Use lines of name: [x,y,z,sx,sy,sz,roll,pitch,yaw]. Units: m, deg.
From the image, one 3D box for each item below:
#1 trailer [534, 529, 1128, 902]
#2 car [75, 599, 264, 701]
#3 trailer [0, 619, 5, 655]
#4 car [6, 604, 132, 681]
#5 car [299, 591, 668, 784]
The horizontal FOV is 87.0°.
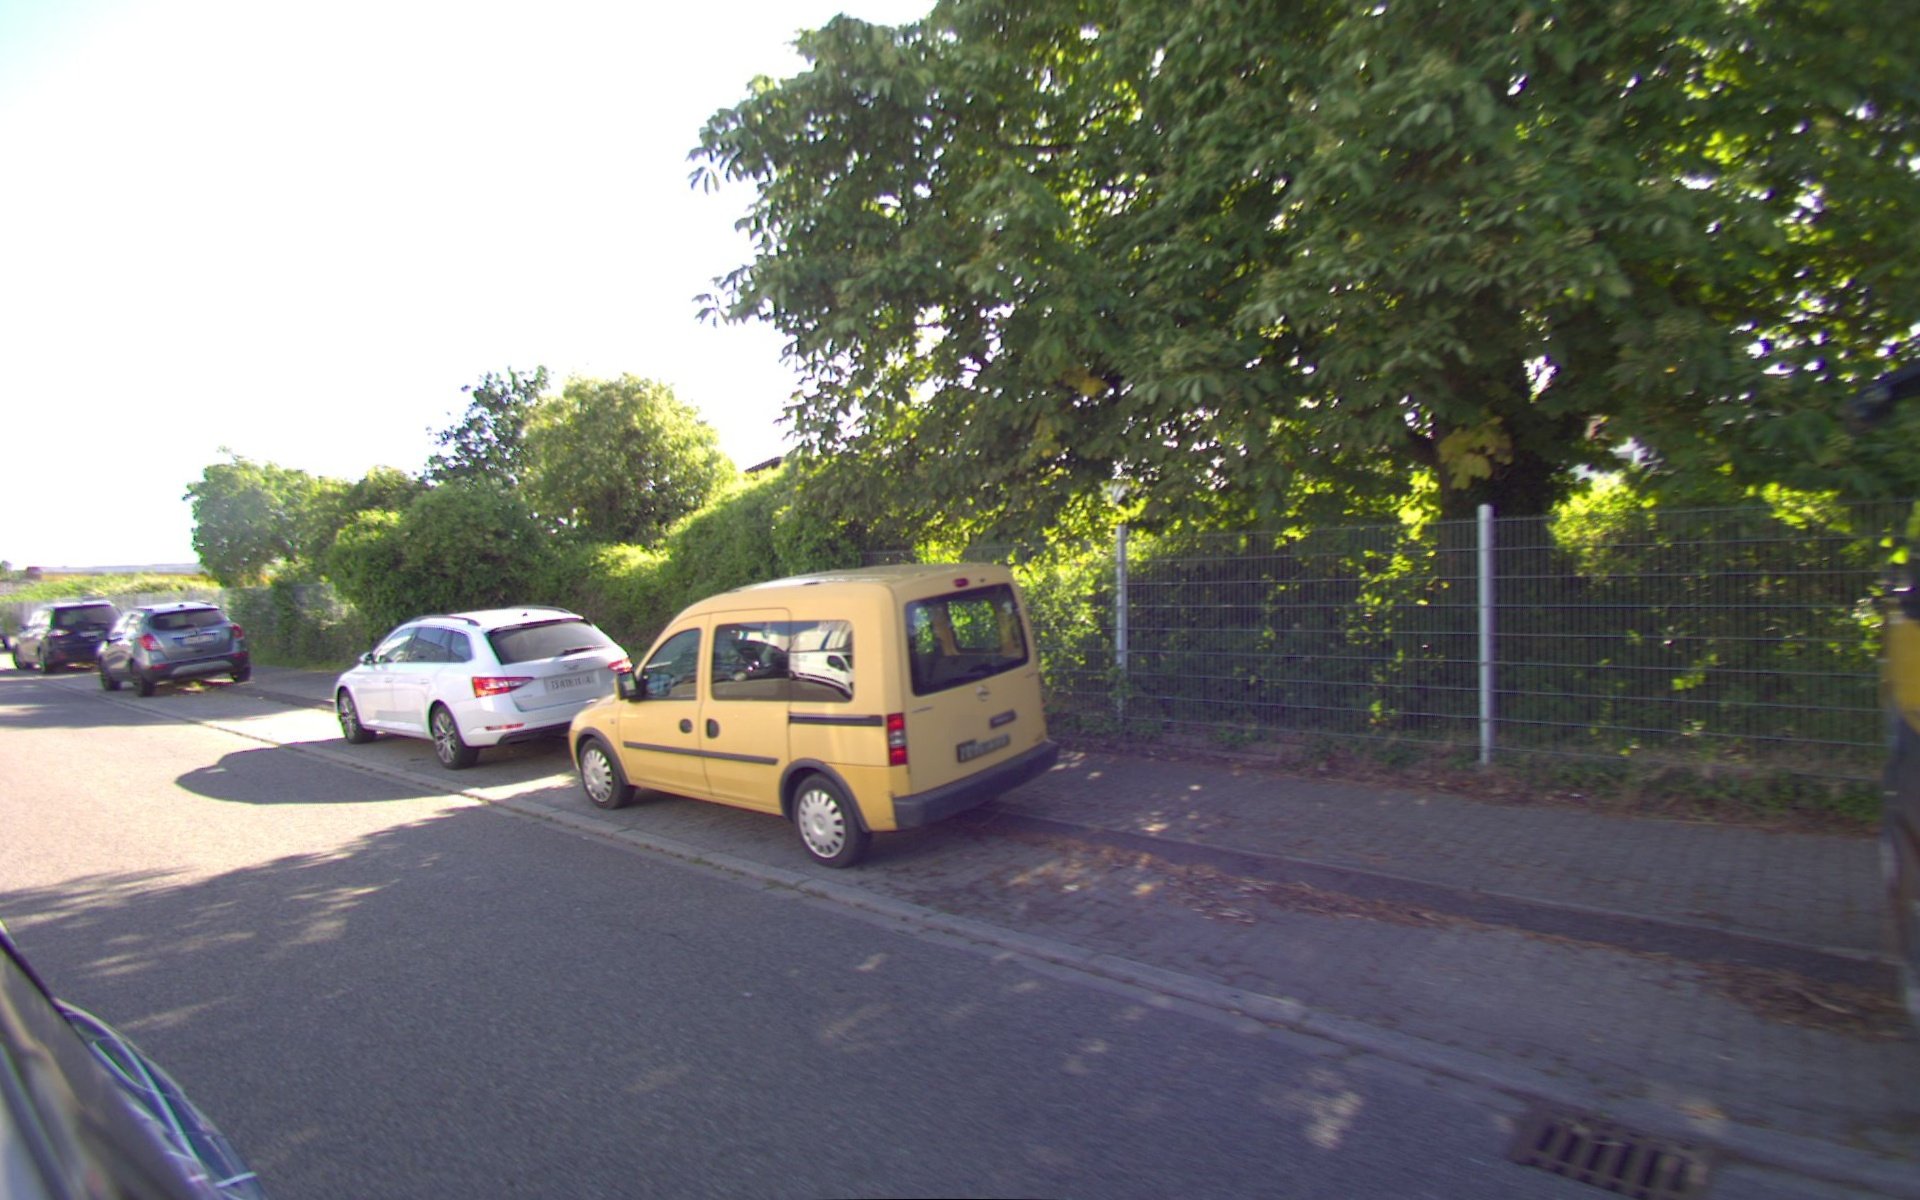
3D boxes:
trailer: [-1.170,0.635,7.521,4.413,1.956,1.973,-1,-1,41]
car: [-15.776,0.936,20.116,4.458,1.674,1.890,-1,3,39]
trailer: [-37.789,1.434,38.769,3.077,1.364,1.461,-1,1,41]
car: [-23.539,1.075,26.678,4.799,1.743,1.774,-1,2,41]
car: [-5.578,0.821,11.476,5.023,1.604,1.888,-1,4,42]
